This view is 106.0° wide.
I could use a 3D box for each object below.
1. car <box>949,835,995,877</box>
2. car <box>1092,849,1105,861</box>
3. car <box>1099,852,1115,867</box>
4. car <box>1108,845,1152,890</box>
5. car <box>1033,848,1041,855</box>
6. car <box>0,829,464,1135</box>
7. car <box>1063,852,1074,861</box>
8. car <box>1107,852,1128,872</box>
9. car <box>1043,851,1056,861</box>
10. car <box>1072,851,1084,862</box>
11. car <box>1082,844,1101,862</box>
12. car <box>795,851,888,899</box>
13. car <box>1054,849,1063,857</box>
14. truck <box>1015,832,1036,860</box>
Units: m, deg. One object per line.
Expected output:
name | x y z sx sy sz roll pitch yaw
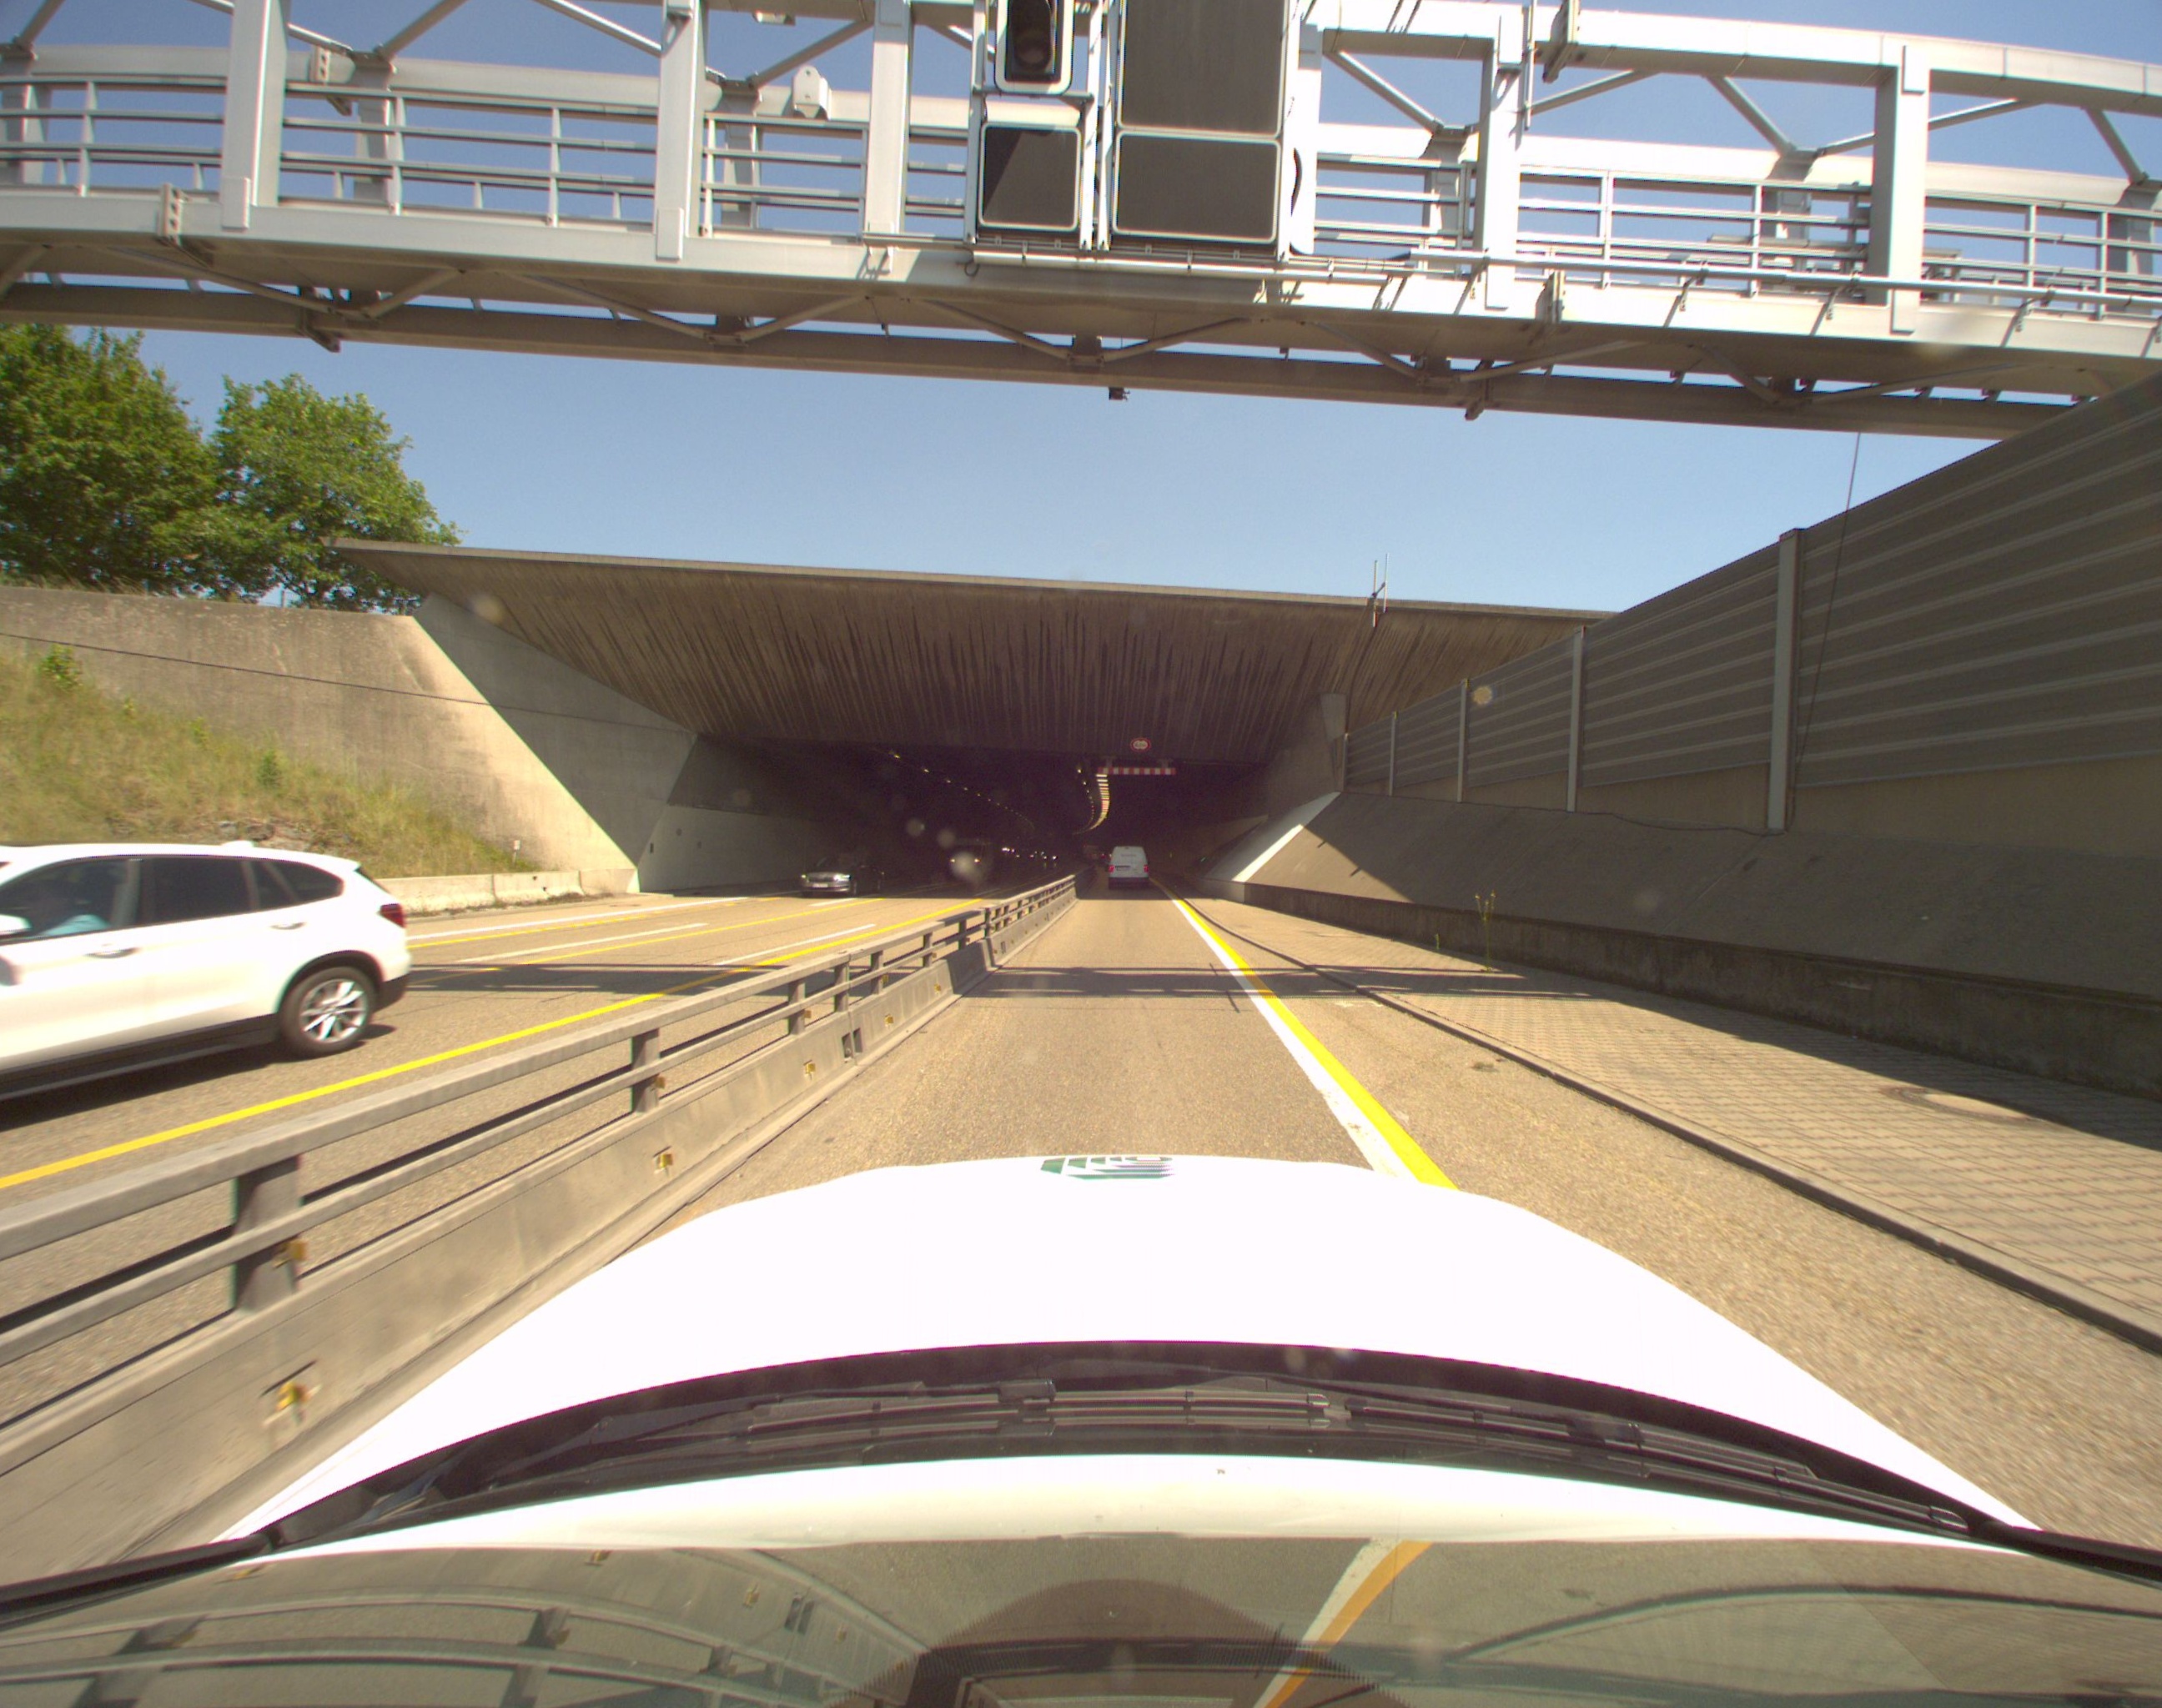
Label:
car | -6.920 0.103 52.543 1.986 2.515 6.044 -1 0 1
car | 2.422 0.123 113.066 1.595 1.546 3.674 0 0 -3
car | 2.821 0.596 89.787 1.593 1.546 3.676 0 0 -1
car | 2.124 0.579 35.737 1.801 1.794 3.733 1 0 2
car | -12.740 -0.712 235.154 1.926 1.848 4.348 -1 3 -9
car | -6.427 0.666 4.959 1.766 1.577 4.450 -1 0 3
car | -2.771 0.452 183.623 1.938 2.021 4.651 0 0 -7
car | 2.951 0.636 66.514 1.593 1.546 3.677 0 0 0
car | -4.484 0.294 117.046 1.817 1.456 4.089 0 0 -3
car | -0.705 0.465 168.265 2.032 2.021 4.623 4 0 -5
car | 1.683 -0.091 131.953 2.807 2.773 7.095 1 -1 -2
car | -8.287 0.657 28.611 1.767 1.515 4.566 -1 0 2
car | -6.042 -0.290 215.114 1.938 2.021 4.651 0 0 -7
truck | -7.967 -1.140 117.247 2.803 3.915 6.451 0 0 -2
